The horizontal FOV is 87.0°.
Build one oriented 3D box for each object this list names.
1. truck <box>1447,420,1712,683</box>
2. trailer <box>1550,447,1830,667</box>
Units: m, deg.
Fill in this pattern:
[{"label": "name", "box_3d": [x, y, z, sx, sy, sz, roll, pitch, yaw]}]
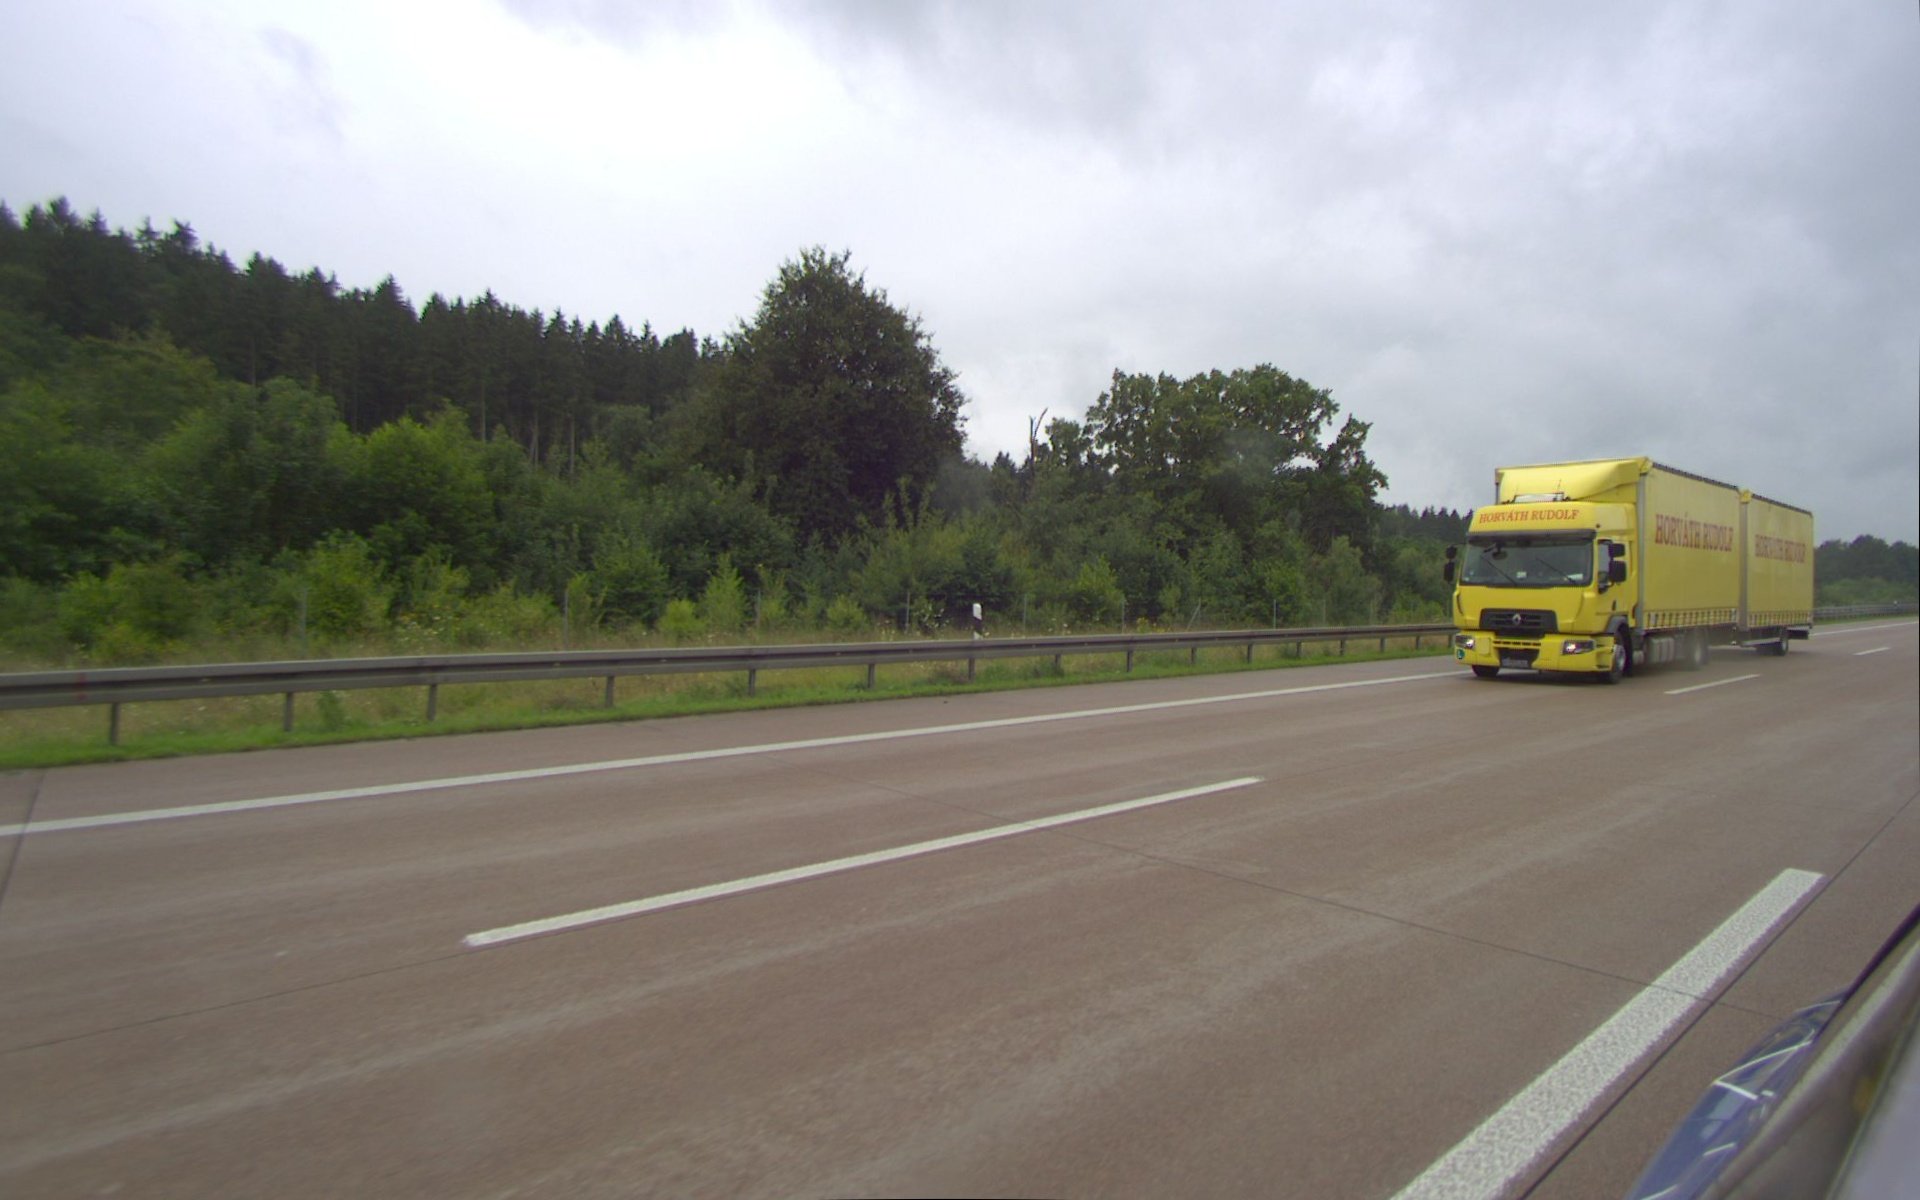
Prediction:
[{"label": "truck", "box_3d": [12.009, -0.822, 19.397, 6.141, 4.267, 2.608, -1, 0, -41]}, {"label": "trailer", "box_3d": [18.689, -0.913, 25.214, 13.834, 4.282, 2.570, -1, 0, -41]}]
